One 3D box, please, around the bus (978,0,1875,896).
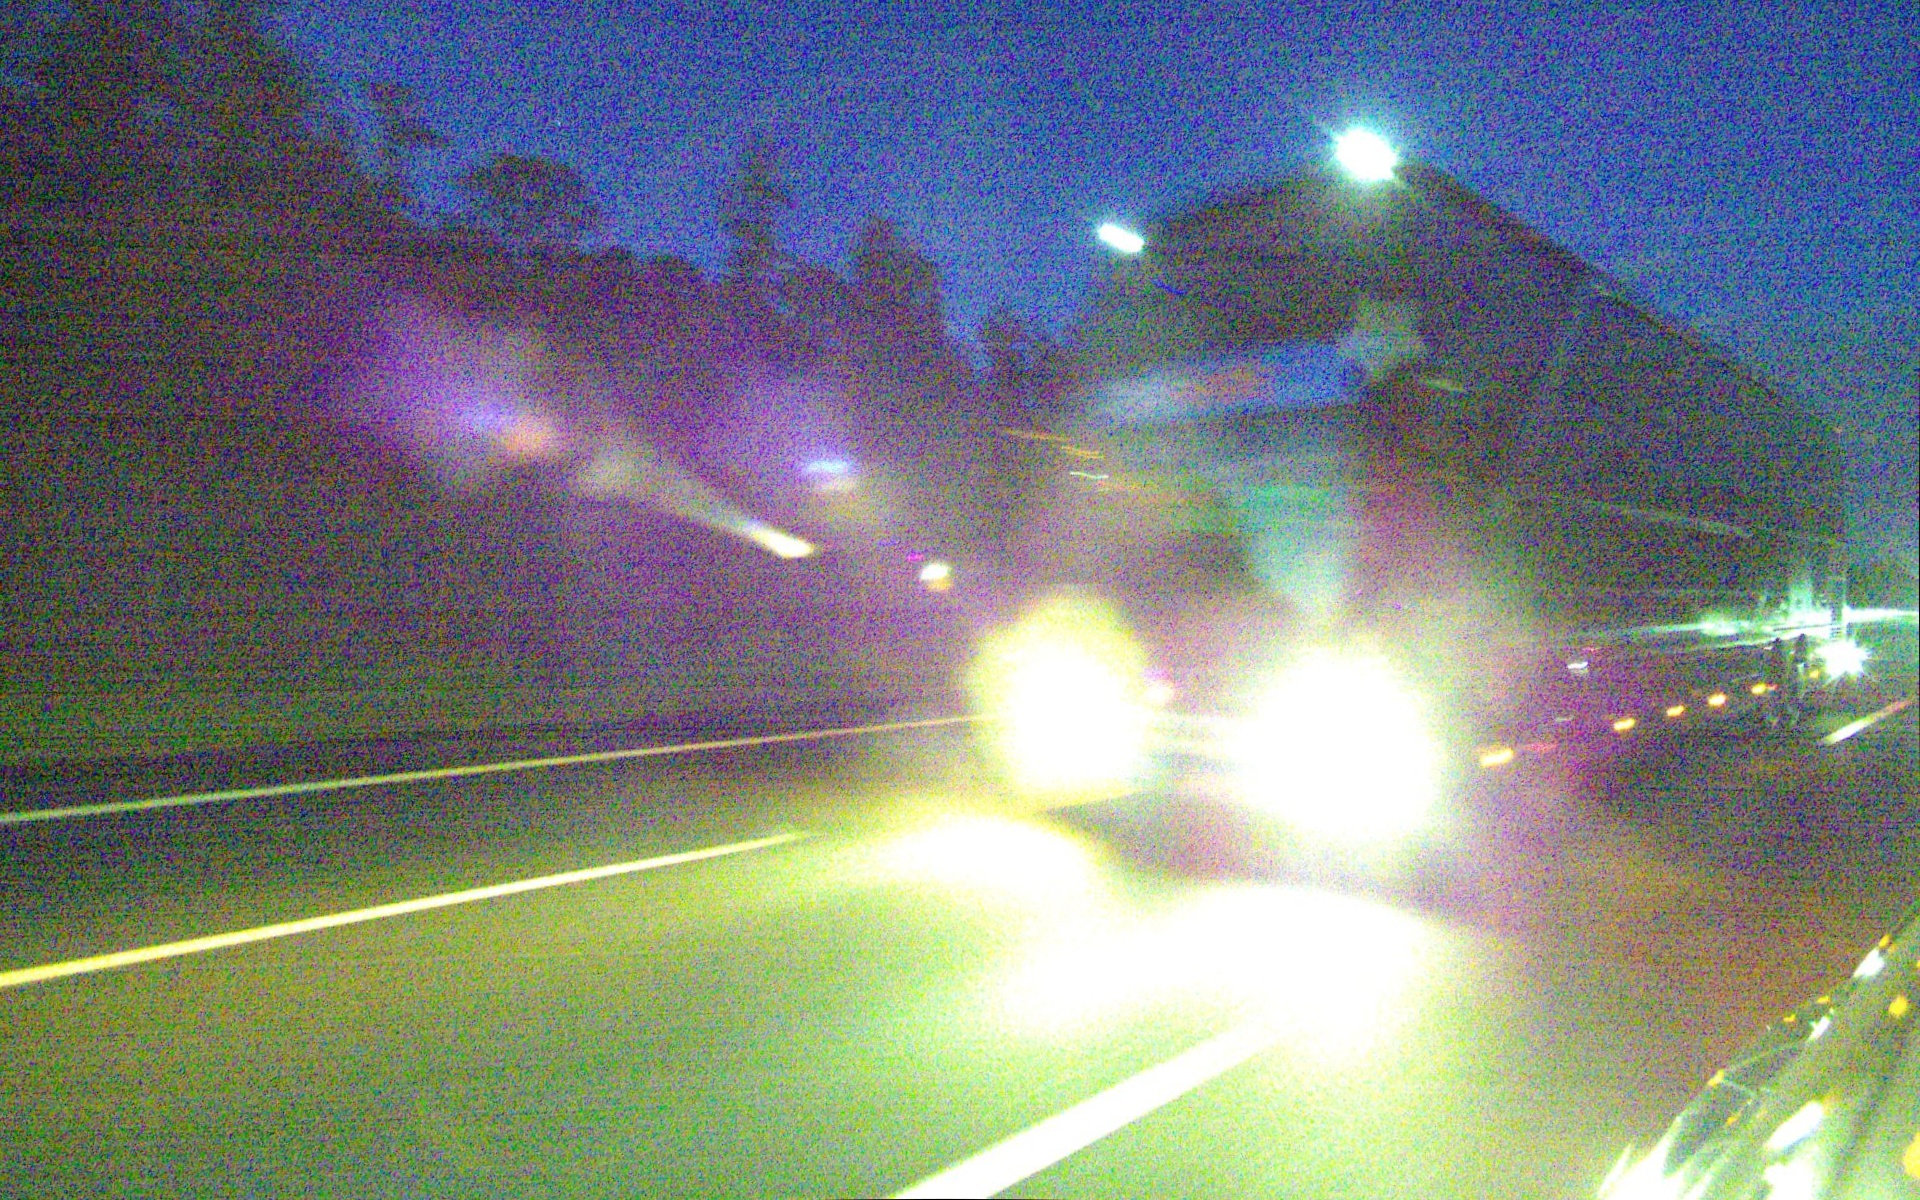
[{"bbox_3d":[6.417,-0.726,10.340,14.446,4.045,2.656,0,-1,-41],"label":"bus"}]
